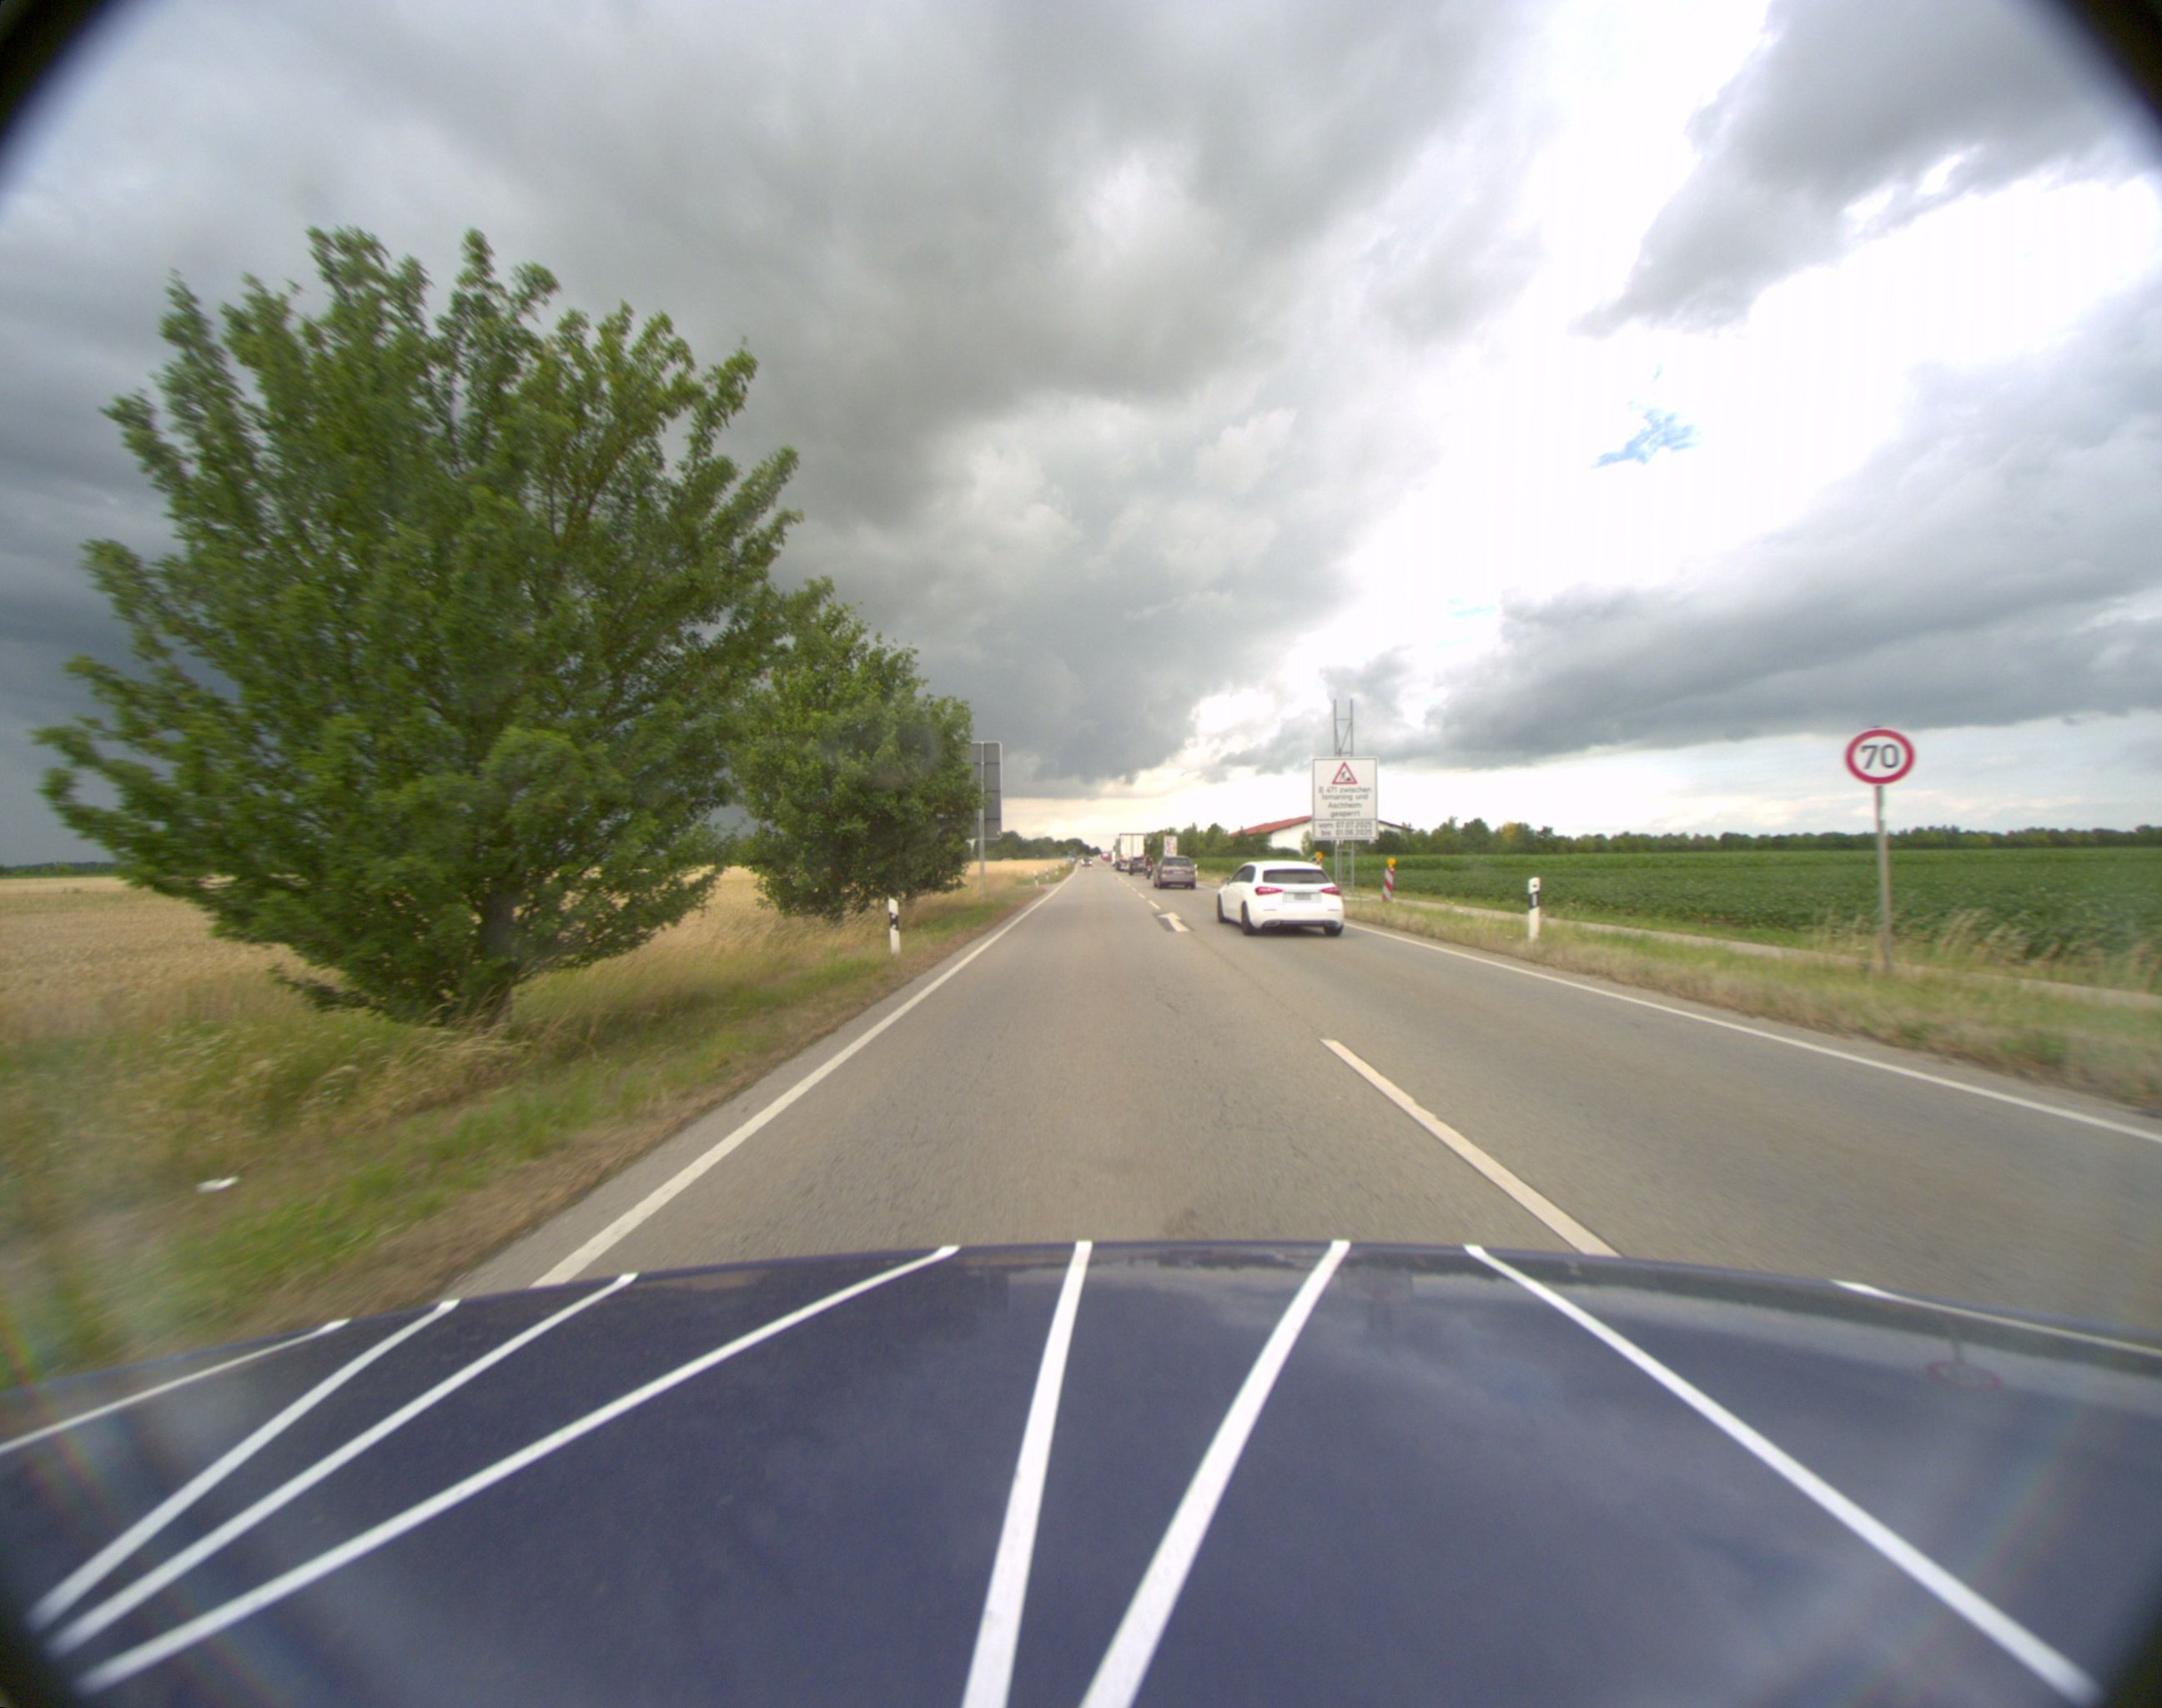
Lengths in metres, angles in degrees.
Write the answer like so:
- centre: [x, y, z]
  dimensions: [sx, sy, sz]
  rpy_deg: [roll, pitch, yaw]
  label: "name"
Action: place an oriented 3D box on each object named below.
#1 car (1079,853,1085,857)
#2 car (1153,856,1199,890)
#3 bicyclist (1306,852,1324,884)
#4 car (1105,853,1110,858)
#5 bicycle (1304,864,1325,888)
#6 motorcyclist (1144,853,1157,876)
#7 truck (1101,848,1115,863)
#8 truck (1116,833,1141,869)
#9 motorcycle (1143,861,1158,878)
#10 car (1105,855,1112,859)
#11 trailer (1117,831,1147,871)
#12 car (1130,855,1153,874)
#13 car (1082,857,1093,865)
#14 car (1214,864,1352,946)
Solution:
- centre: [0.369, 0.180, 262.919]
  dimensions: [1.714, 1.352, 3.826]
  rpy_deg: [-1, 0, 1]
  label: "car"
- centre: [4.559, 0.884, 36.919]
  dimensions: [1.708, 1.531, 4.301]
  rpy_deg: [1, 0, 1]
  label: "car"
- centre: [11.712, 0.693, 38.081]
  dimensions: [0.530, 1.575, 1.223]
  rpy_deg: [1, 0, 2]
  label: "bicyclist"
- centre: [8.960, 0.500, 256.261]
  dimensions: [1.869, 1.352, 3.826]
  rpy_deg: [-1, 0, 1]
  label: "car"
- centre: [11.705, 1.074, 38.076]
  dimensions: [0.530, 1.149, 1.794]
  rpy_deg: [1, 0, 2]
  label: "bicycle"
- centre: [4.775, 0.711, 52.281]
  dimensions: [0.799, 1.564, 1.078]
  rpy_deg: [-1, 0, 1]
  label: "motorcyclist"
- centre: [4.971, 0.203, 137.180]
  dimensions: [2.419, 2.643, 11.432]
  rpy_deg: [-1, 0, 2]
  label: "truck"
- centre: [5.675, -0.372, 91.762]
  dimensions: [2.658, 4.096, 6.023]
  rpy_deg: [-1, 0, 1]
  label: "truck"
- centre: [4.775, 1.055, 52.215]
  dimensions: [0.799, 1.151, 2.620]
  rpy_deg: [-1, 0, 1]
  label: "motorcycle"
- centre: [8.433, 0.849, 232.554]
  dimensions: [1.869, 1.352, 3.826]
  rpy_deg: [-1, 0, 1]
  label: "car"
- centre: [5.555, -0.370, 85.211]
  dimensions: [2.640, 4.096, 13.767]
  rpy_deg: [-1, 0, 1]
  label: "trailer"
- centre: [5.106, 0.888, 64.538]
  dimensions: [1.733, 1.577, 4.505]
  rpy_deg: [0, 0, 1]
  label: "car"
- centre: [1.107, 1.247, 135.088]
  dimensions: [1.869, 1.352, 3.826]
  rpy_deg: [-1, 0, 0]
  label: "car"
- centre: [3.932, 0.928, 15.503]
  dimensions: [1.777, 1.365, 4.100]
  rpy_deg: [1, 0, 1]
  label: "car"
